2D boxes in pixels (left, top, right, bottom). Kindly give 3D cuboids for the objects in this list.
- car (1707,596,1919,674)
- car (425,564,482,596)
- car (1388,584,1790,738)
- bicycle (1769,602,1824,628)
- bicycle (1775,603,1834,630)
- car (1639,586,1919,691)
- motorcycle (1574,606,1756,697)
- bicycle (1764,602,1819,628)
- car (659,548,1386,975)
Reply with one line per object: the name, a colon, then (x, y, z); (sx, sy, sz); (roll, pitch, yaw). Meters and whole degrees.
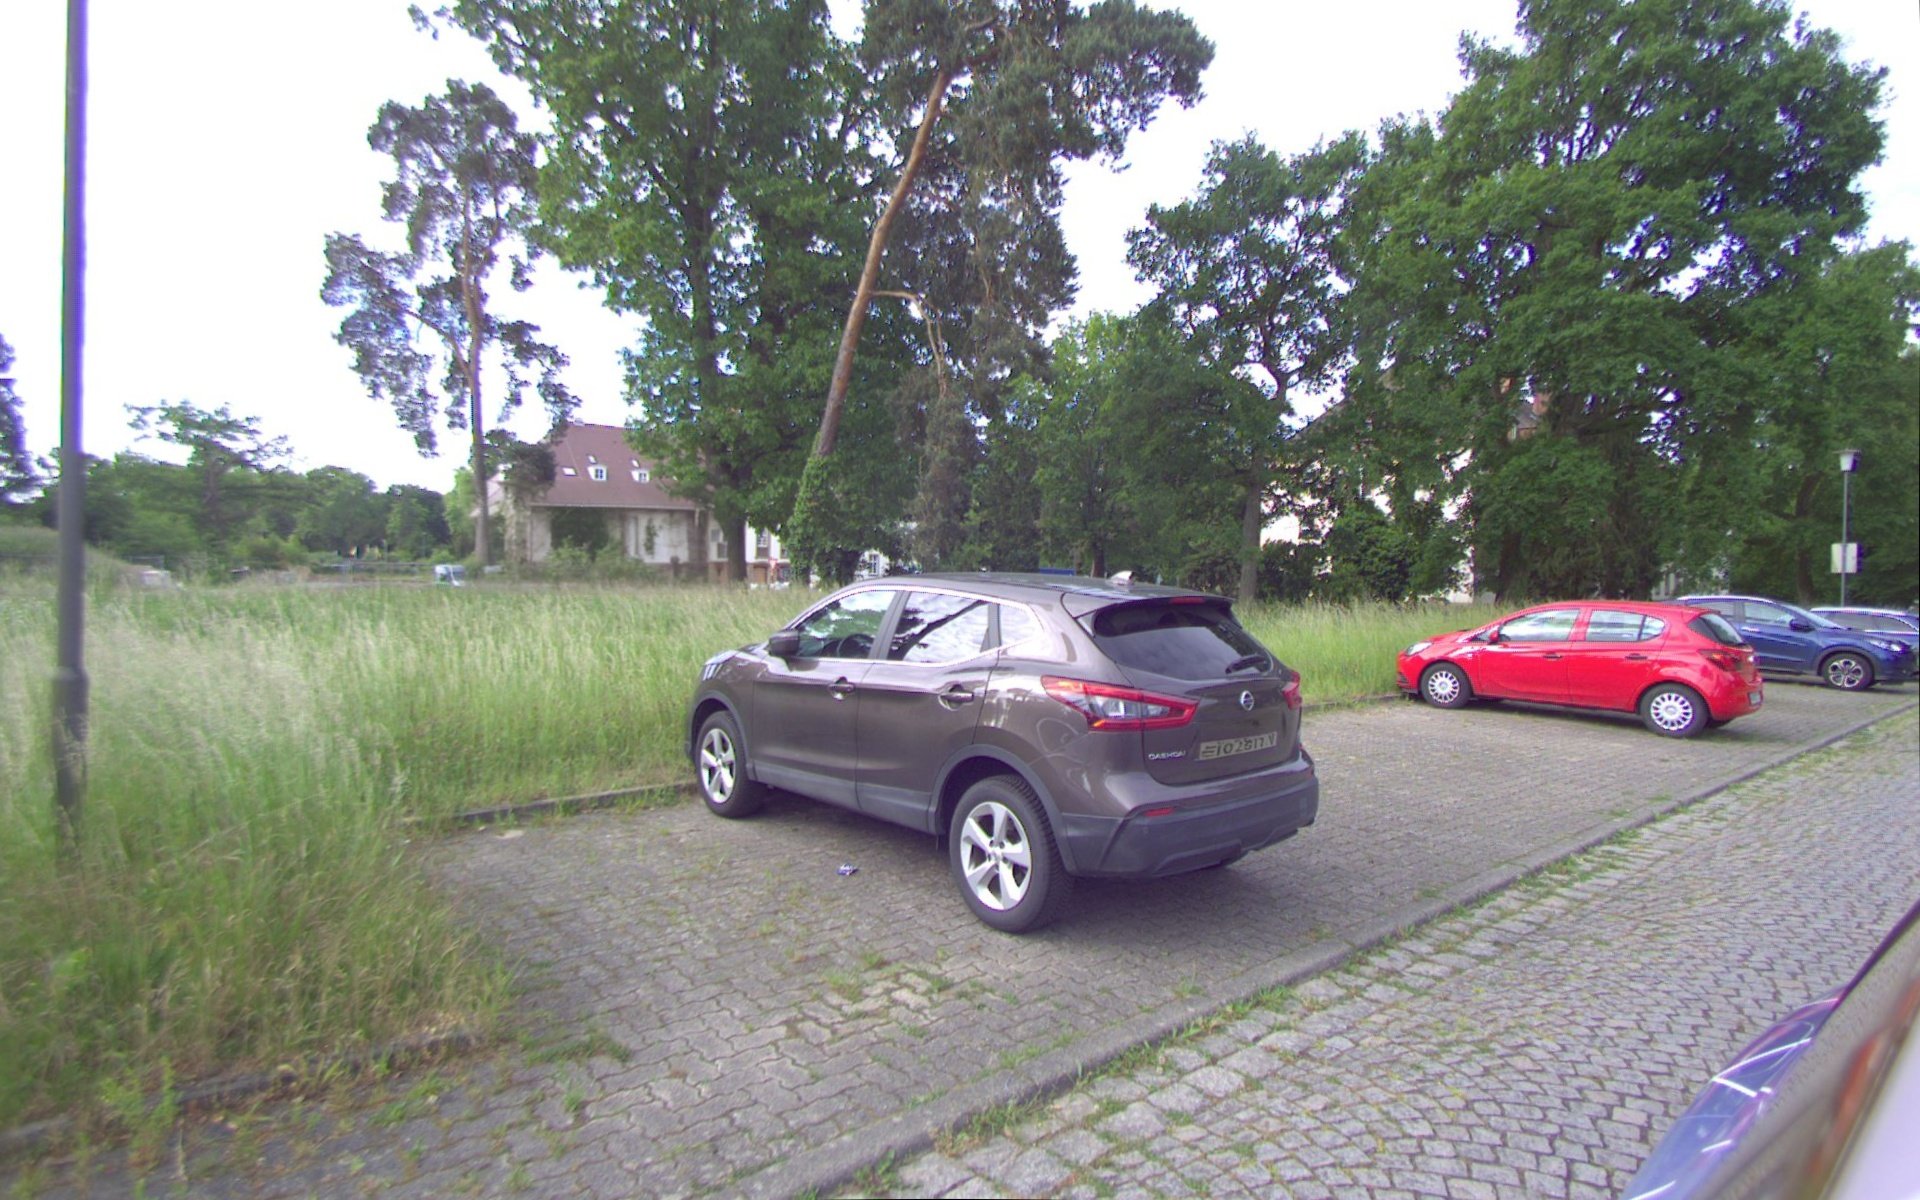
car: (19.177, 0.716, 21.988); (1.891, 1.457, 4.370); (1, 2, -37)
car: (-43.651, -1.649, 87.109); (5.651, 2.674, 2.246); (0, 0, 39)
car: (7.701, 0.616, 12.683); (1.754, 1.515, 3.931); (0, 2, -41)
bicycle: (39.606, 0.703, 47.938); (1.922, 1.185, 0.483); (0, 0, 29)
bicycle: (36.942, 0.722, 44.282); (1.917, 1.185, 0.484); (0, -1, 23)
car: (15.564, 0.627, 19.053); (1.854, 1.643, 4.253); (0, 2, -41)
motorcycle: (10.903, 0.755, 15.737); (0.558, 1.216, 2.234); (1, 2, -41)
bicycle: (39.104, 0.705, 47.601); (1.922, 1.185, 0.483); (0, 0, 29)
car: (0.036, 0.538, 6.068); (1.919, 1.614, 4.211); (0, 2, -42)
